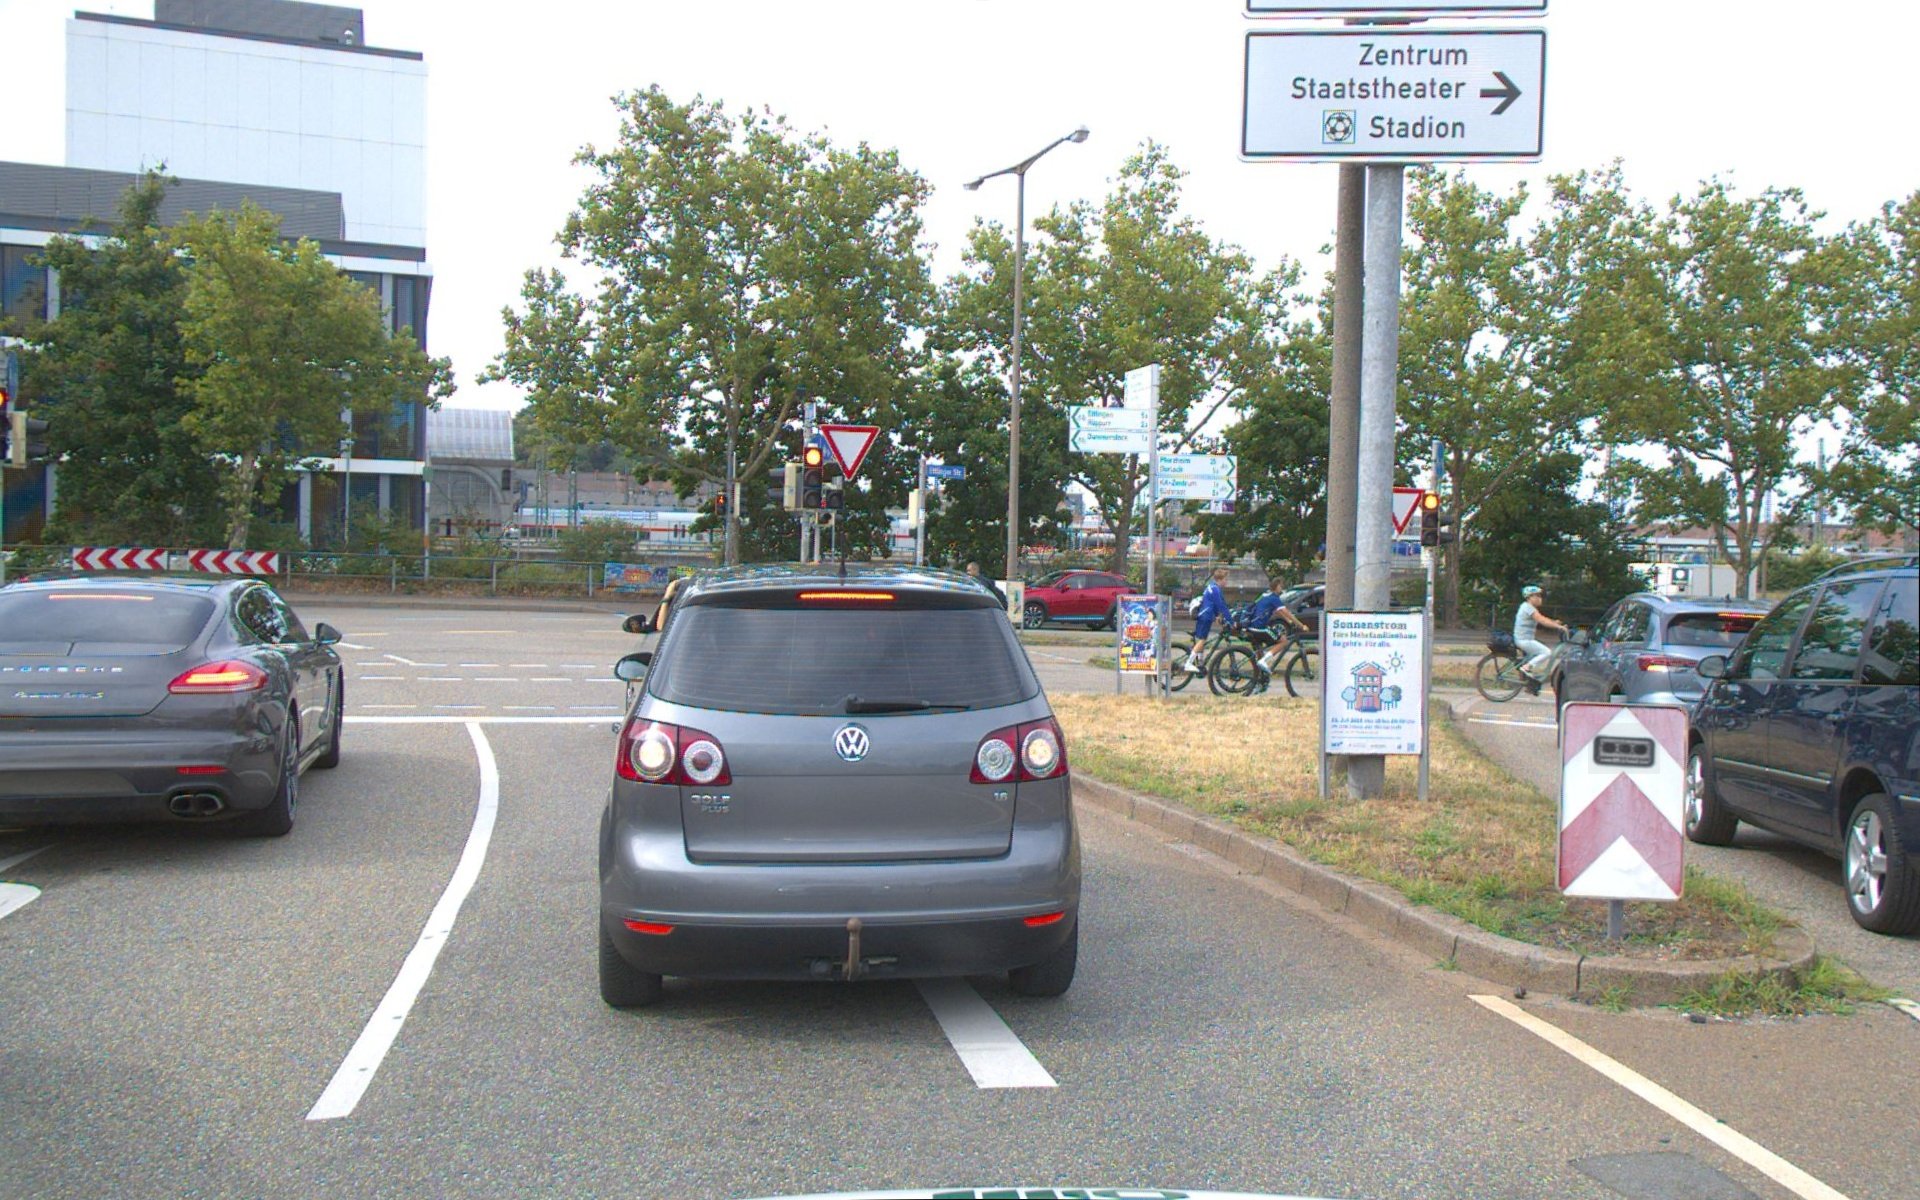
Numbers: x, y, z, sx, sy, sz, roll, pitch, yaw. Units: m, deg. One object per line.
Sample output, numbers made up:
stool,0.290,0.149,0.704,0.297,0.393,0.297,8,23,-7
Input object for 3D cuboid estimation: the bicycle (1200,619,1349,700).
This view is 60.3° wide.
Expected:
bicycle,4.181,0.789,22.017,1.871,1.031,0.625,1,1,-18

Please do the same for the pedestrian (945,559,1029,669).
pedestrian,0.438,0.217,26.976,1.038,1.740,0.843,1,1,-35

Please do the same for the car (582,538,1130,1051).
car,-0.602,0.586,7.221,1.709,1.573,4.074,1,0,-9

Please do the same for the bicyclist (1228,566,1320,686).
bicyclist,4.174,0.341,21.990,1.000,1.566,0.625,1,1,-18

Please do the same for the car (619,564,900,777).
car,-1.831,0.480,13.919,1.713,1.508,4.064,1,1,-16

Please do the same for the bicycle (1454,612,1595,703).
bicycle,8.241,0.827,24.218,1.860,1.231,0.643,1,1,11

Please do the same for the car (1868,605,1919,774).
car,10.220,0.925,15.480,1.713,1.671,4.141,3,0,10

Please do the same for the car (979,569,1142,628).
car,2.607,-0.042,42.965,3.894,1.473,1.692,1,1,-21

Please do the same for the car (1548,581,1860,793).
car,6.741,0.702,15.452,1.655,1.613,4.160,3,0,11

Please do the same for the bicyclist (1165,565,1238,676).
bicyclist,3.463,0.284,23.726,0.825,1.556,0.625,1,1,-18

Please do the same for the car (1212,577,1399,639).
car,8.597,0.192,41.174,4.260,1.473,1.753,1,1,-18

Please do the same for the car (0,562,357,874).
car,-4.842,0.518,10.121,1.789,1.438,4.756,1,1,-16

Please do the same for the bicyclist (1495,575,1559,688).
bicyclist,8.293,0.450,24.206,0.762,1.608,0.655,1,1,11

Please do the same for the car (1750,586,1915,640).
car,25.252,0.382,47.863,4.260,1.473,1.753,1,1,-18

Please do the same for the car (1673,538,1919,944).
car,5.269,0.653,8.693,1.713,1.754,4.141,3,0,9

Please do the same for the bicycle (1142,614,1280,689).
bicycle,3.610,0.733,23.787,1.871,1.031,0.625,1,1,-18
